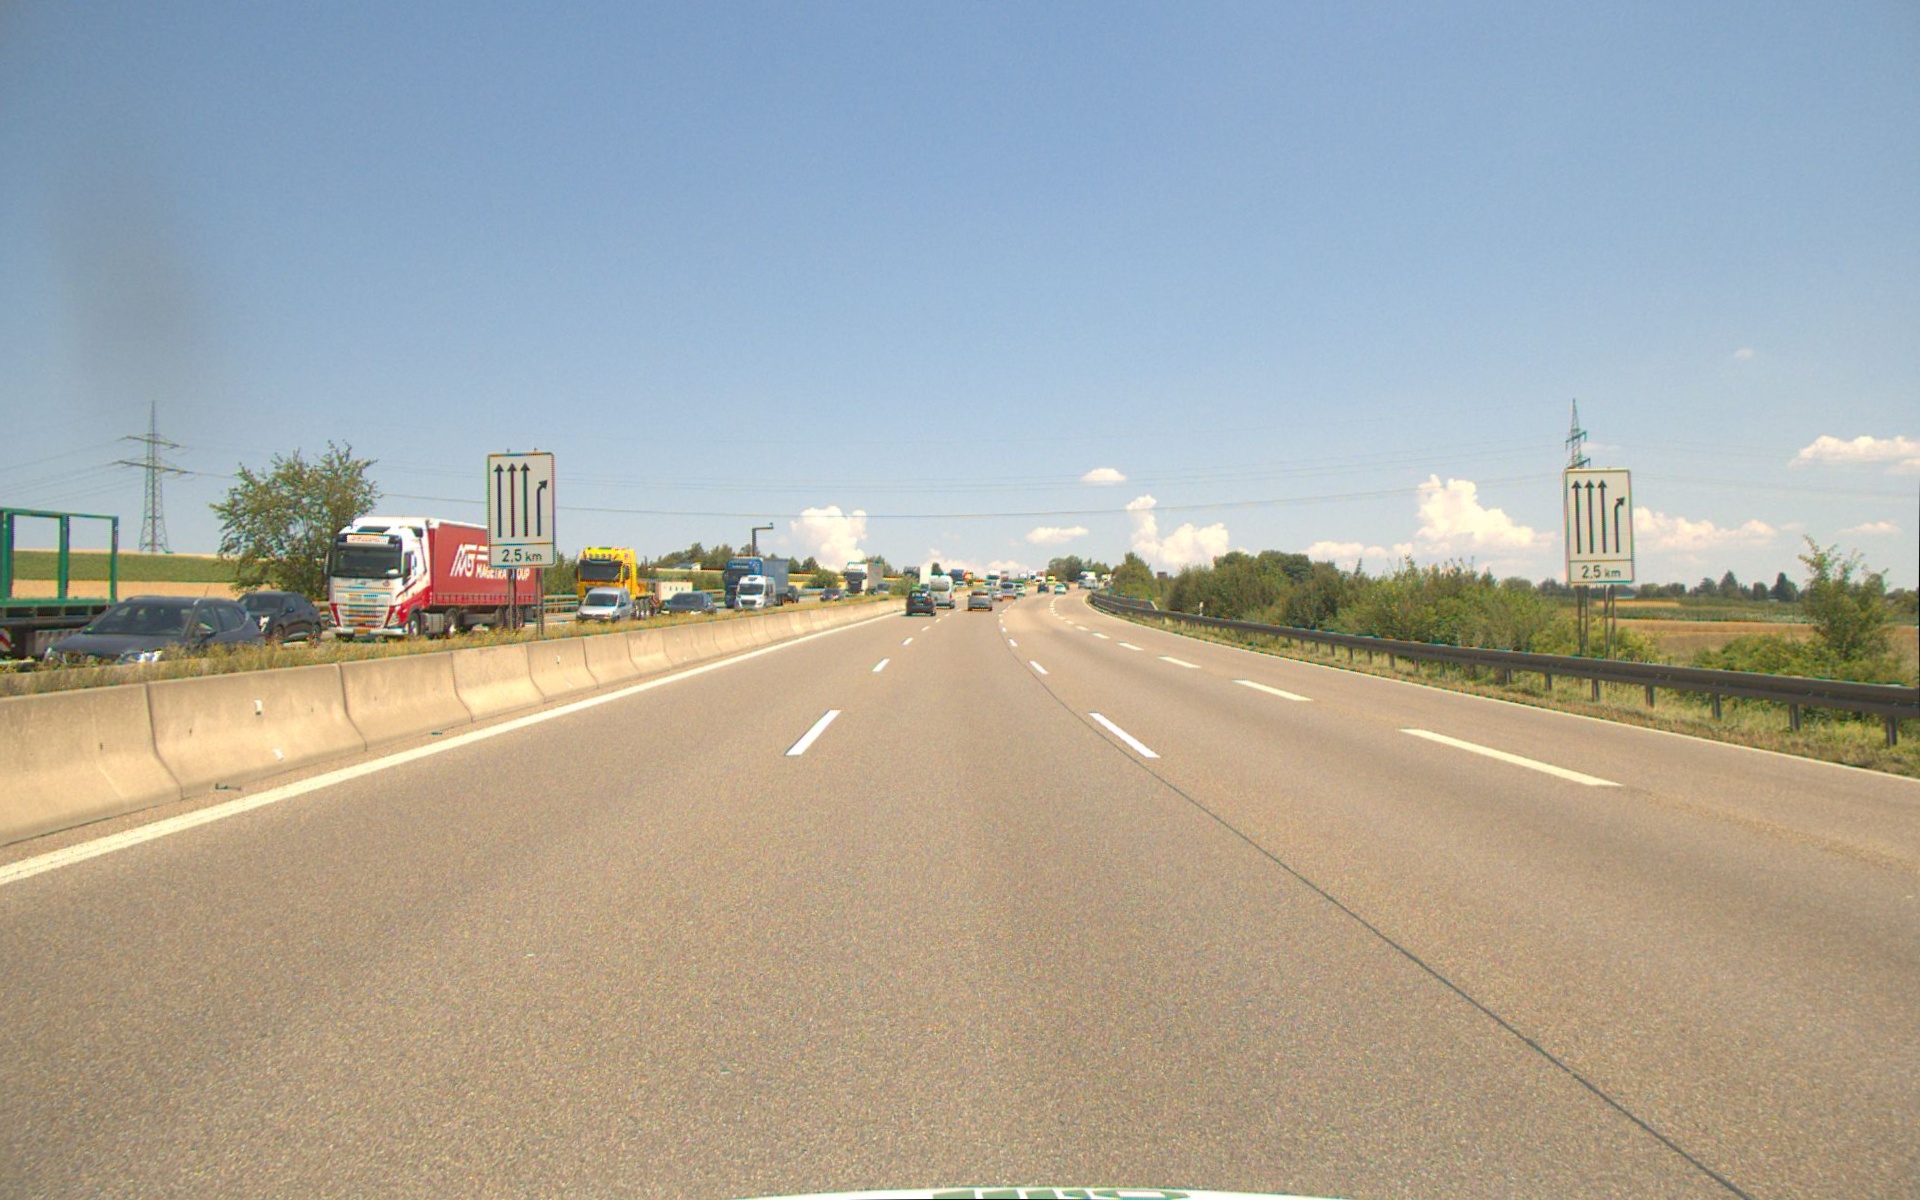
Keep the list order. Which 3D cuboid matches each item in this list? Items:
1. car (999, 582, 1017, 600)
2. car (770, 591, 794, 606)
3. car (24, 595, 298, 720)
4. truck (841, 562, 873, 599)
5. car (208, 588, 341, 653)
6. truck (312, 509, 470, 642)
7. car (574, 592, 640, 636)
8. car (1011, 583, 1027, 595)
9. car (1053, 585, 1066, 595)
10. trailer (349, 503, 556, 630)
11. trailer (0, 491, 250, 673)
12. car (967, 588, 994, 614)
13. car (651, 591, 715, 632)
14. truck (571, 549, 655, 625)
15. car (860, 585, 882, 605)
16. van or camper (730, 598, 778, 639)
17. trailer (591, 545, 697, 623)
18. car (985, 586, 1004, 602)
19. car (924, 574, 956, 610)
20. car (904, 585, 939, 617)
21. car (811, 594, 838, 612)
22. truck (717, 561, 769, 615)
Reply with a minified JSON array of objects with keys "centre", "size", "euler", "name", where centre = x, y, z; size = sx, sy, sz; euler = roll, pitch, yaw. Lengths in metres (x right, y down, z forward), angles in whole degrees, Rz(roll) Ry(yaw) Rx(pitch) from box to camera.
[{"centre":[5.592,-1.031,192.162],"size":[1.952,1.937,3.999],"euler":[0,-2,0],"name":"car"},{"centre":[-16.792,-0.163,156.315],"size":[1.623,1.409,4.352],"euler":[1,1,2],"name":"car"},{"centre":[-11.379,0.744,23.948],"size":[1.800,1.611,4.553],"euler":[1,0,-1],"name":"car"},{"centre":[-12.766,-2.395,205.202],"size":[3.066,4.403,6.150],"euler":[1,0,4],"name":"truck"},{"centre":[-18.796,0.604,45.583],"size":[1.800,1.659,4.603],"euler":[1,-2,-1],"name":"car"},{"centre":[-18.818,-0.778,55.173],"size":[2.973,4.153,6.315],"euler":[1,0,0],"name":"truck"},{"centre":[-15.090,0.569,70.940],"size":[1.874,1.803,4.761],"euler":[1,0,-1],"name":"car"},{"centre":[7.985,-1.480,222.891],"size":[1.952,1.579,4.002],"euler":[2,1,3],"name":"car"},{"centre":[15.459,-1.567,256.796],"size":[1.862,1.467,4.003],"euler":[0,1,5],"name":"car"},{"centre":[-18.662,-1.145,62.304],"size":[3.022,4.172,14.383],"euler":[1,0,1],"name":"trailer"},{"centre":[-18.733,-0.351,34.058],"size":[2.800,3.262,12.781],"euler":[1,0,-1],"name":"trailer"},{"centre":[1.537,0.068,125.841],"size":[1.953,1.781,3.998],"euler":[1,-2,-1],"name":"car"},{"centre":[-12.189,0.497,72.967],"size":[2.007,1.725,5.254],"euler":[1,0,-1],"name":"car"},{"centre":[-18.627,-0.688,89.200],"size":[2.693,3.904,7.100],"euler":[1,0,2],"name":"truck"},{"centre":[-8.977,-0.524,167.279],"size":[1.874,2.004,5.447],"euler":[1,0,1],"name":"car"},{"centre":[-13.802,1.205,111.260],"size":[2.263,2.632,7.143],"euler":[1,0,0],"name":"van or camper"},{"centre":[-18.262,-0.951,96.840],"size":[2.891,4.172,14.386],"euler":[1,1,2],"name":"trailer"},{"centre":[3.588,-0.632,173.828],"size":[1.952,1.613,4.000],"euler":[0,-1,0],"name":"car"},{"centre":[-1.564,-0.606,131.575],"size":[2.134,2.671,4.674],"euler":[1,-2,4],"name":"car"},{"centre":[-2.420,0.045,103.561],"size":[1.808,1.893,4.208],"euler":[0,1,4],"name":"car"},{"centre":[-12.552,0.241,153.733],"size":[1.874,1.568,5.743],"euler":[1,0,1],"name":"car"},{"centre":[-17.331,-0.928,132.427],"size":[3.012,4.161,6.937],"euler":[1,0,2],"name":"truck"}]
